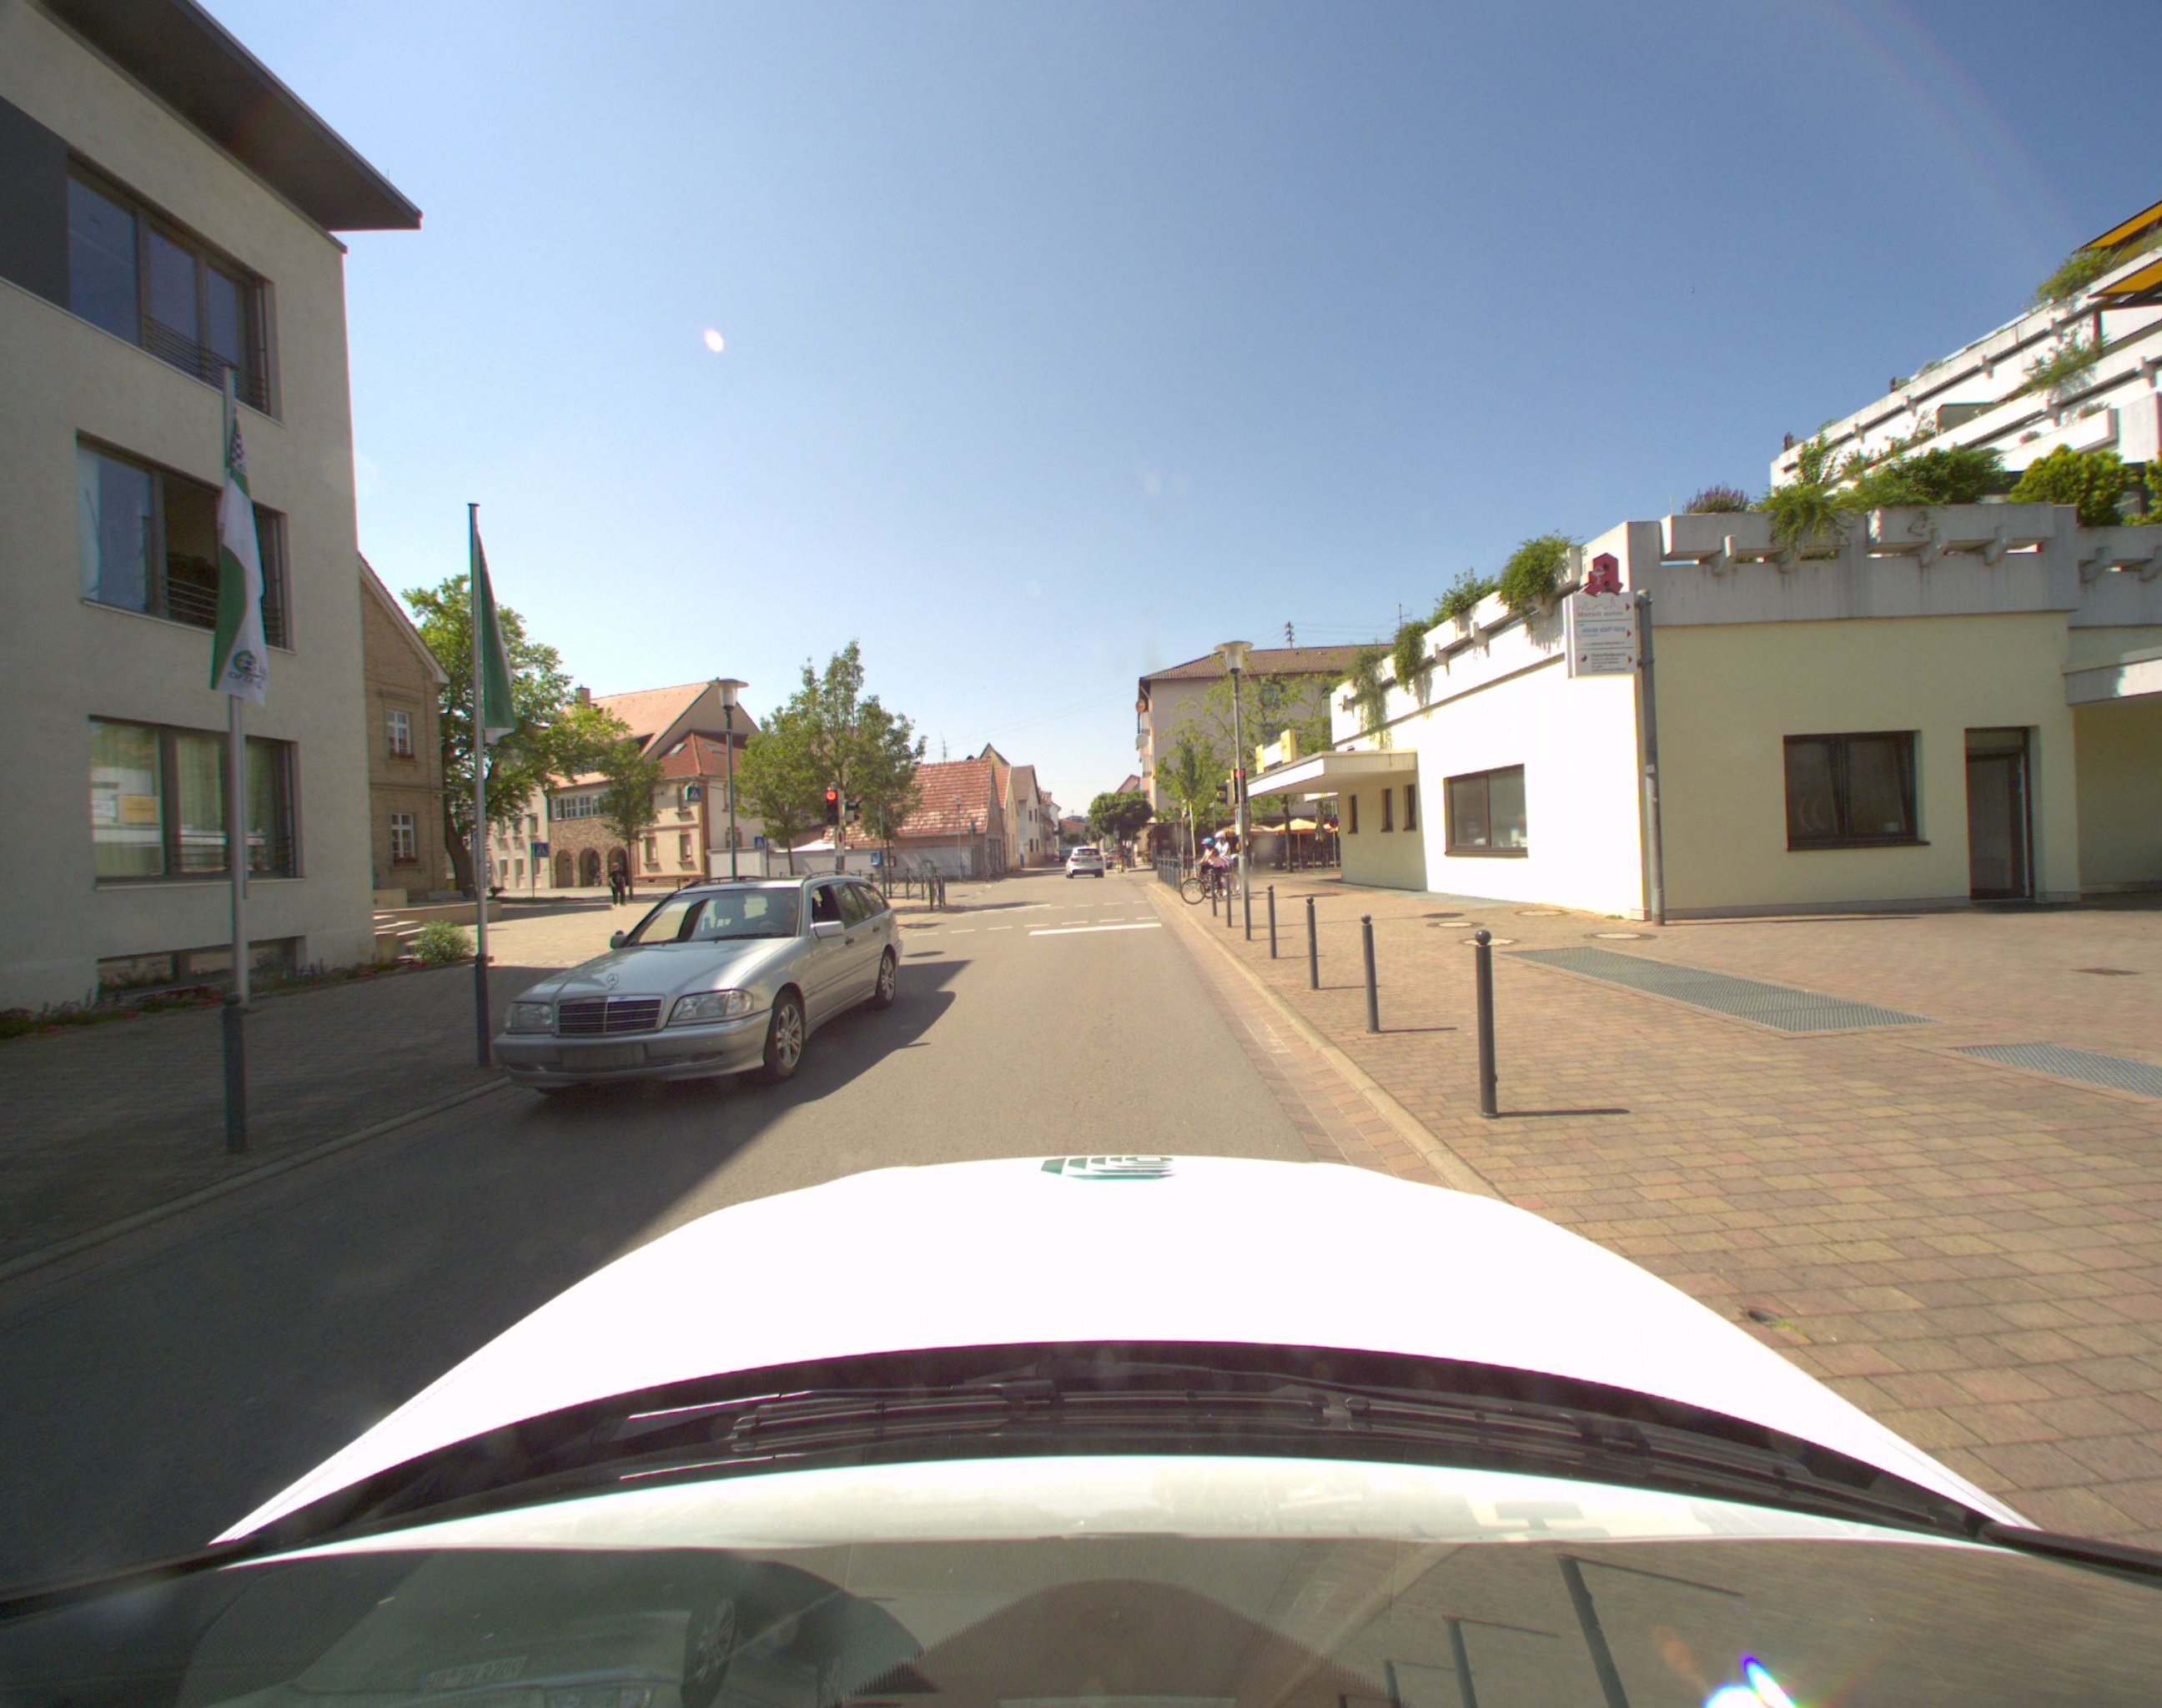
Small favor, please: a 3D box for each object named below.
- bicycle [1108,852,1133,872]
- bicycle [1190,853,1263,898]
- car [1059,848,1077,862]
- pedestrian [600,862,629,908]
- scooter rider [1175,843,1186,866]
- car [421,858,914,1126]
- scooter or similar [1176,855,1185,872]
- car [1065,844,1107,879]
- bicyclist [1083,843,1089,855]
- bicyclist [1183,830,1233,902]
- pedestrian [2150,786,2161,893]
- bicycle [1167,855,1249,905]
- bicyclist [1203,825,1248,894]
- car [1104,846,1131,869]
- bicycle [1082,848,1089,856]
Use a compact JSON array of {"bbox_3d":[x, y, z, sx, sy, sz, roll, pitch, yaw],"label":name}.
[{"bbox_3d":[2.466,0.516,50.849,0.530,1.193,1.655,-3,0,-41],"label":"bicycle"},{"bbox_3d":[3.679,0.522,20.483,1.906,0.958,0.668,-5,1,-40],"label":"bicycle"},{"bbox_3d":[-1.429,0.106,90.479,1.706,1.517,3.790,-3,0,4],"label":"car"},{"bbox_3d":[-17.659,1.167,30.839,0.818,1.654,0.841,-1,-1,-38],"label":"pedestrian"},{"bbox_3d":[5.648,0.016,46.157,0.513,1.286,0.419,-3,0,10],"label":"scooter rider"},{"bbox_3d":[-2.931,0.845,7.091,1.874,1.464,4.436,-4,-1,1],"label":"car"},{"bbox_3d":[5.654,0.532,46.108,0.376,0.873,0.893,-3,0,12],"label":"scooter or similar"},{"bbox_3d":[0.198,0.366,42.577,1.830,1.652,3.994,-3,0,-4],"label":"car"},{"bbox_3d":[0.620,-0.667,107.100,0.670,1.482,0.771,-3,0,4],"label":"bicyclist"},{"bbox_3d":[2.950,0.273,18.924,0.765,1.581,0.663,-5,1,-36],"label":"bicyclist"},{"bbox_3d":[15.371,-0.210,11.053,0.801,1.497,0.623,-3,0,26],"label":"pedestrian"},{"bbox_3d":[2.959,0.596,18.912,1.905,0.958,0.668,-5,1,-36],"label":"bicycle"},{"bbox_3d":[3.623,0.149,20.463,0.766,1.664,0.663,-5,1,-40],"label":"bicyclist"},{"bbox_3d":[2.731,0.225,59.624,1.797,1.501,4.005,-3,1,4],"label":"car"},{"bbox_3d":[0.628,-0.289,107.002,0.661,1.006,1.900,-3,0,5],"label":"bicycle"}]
